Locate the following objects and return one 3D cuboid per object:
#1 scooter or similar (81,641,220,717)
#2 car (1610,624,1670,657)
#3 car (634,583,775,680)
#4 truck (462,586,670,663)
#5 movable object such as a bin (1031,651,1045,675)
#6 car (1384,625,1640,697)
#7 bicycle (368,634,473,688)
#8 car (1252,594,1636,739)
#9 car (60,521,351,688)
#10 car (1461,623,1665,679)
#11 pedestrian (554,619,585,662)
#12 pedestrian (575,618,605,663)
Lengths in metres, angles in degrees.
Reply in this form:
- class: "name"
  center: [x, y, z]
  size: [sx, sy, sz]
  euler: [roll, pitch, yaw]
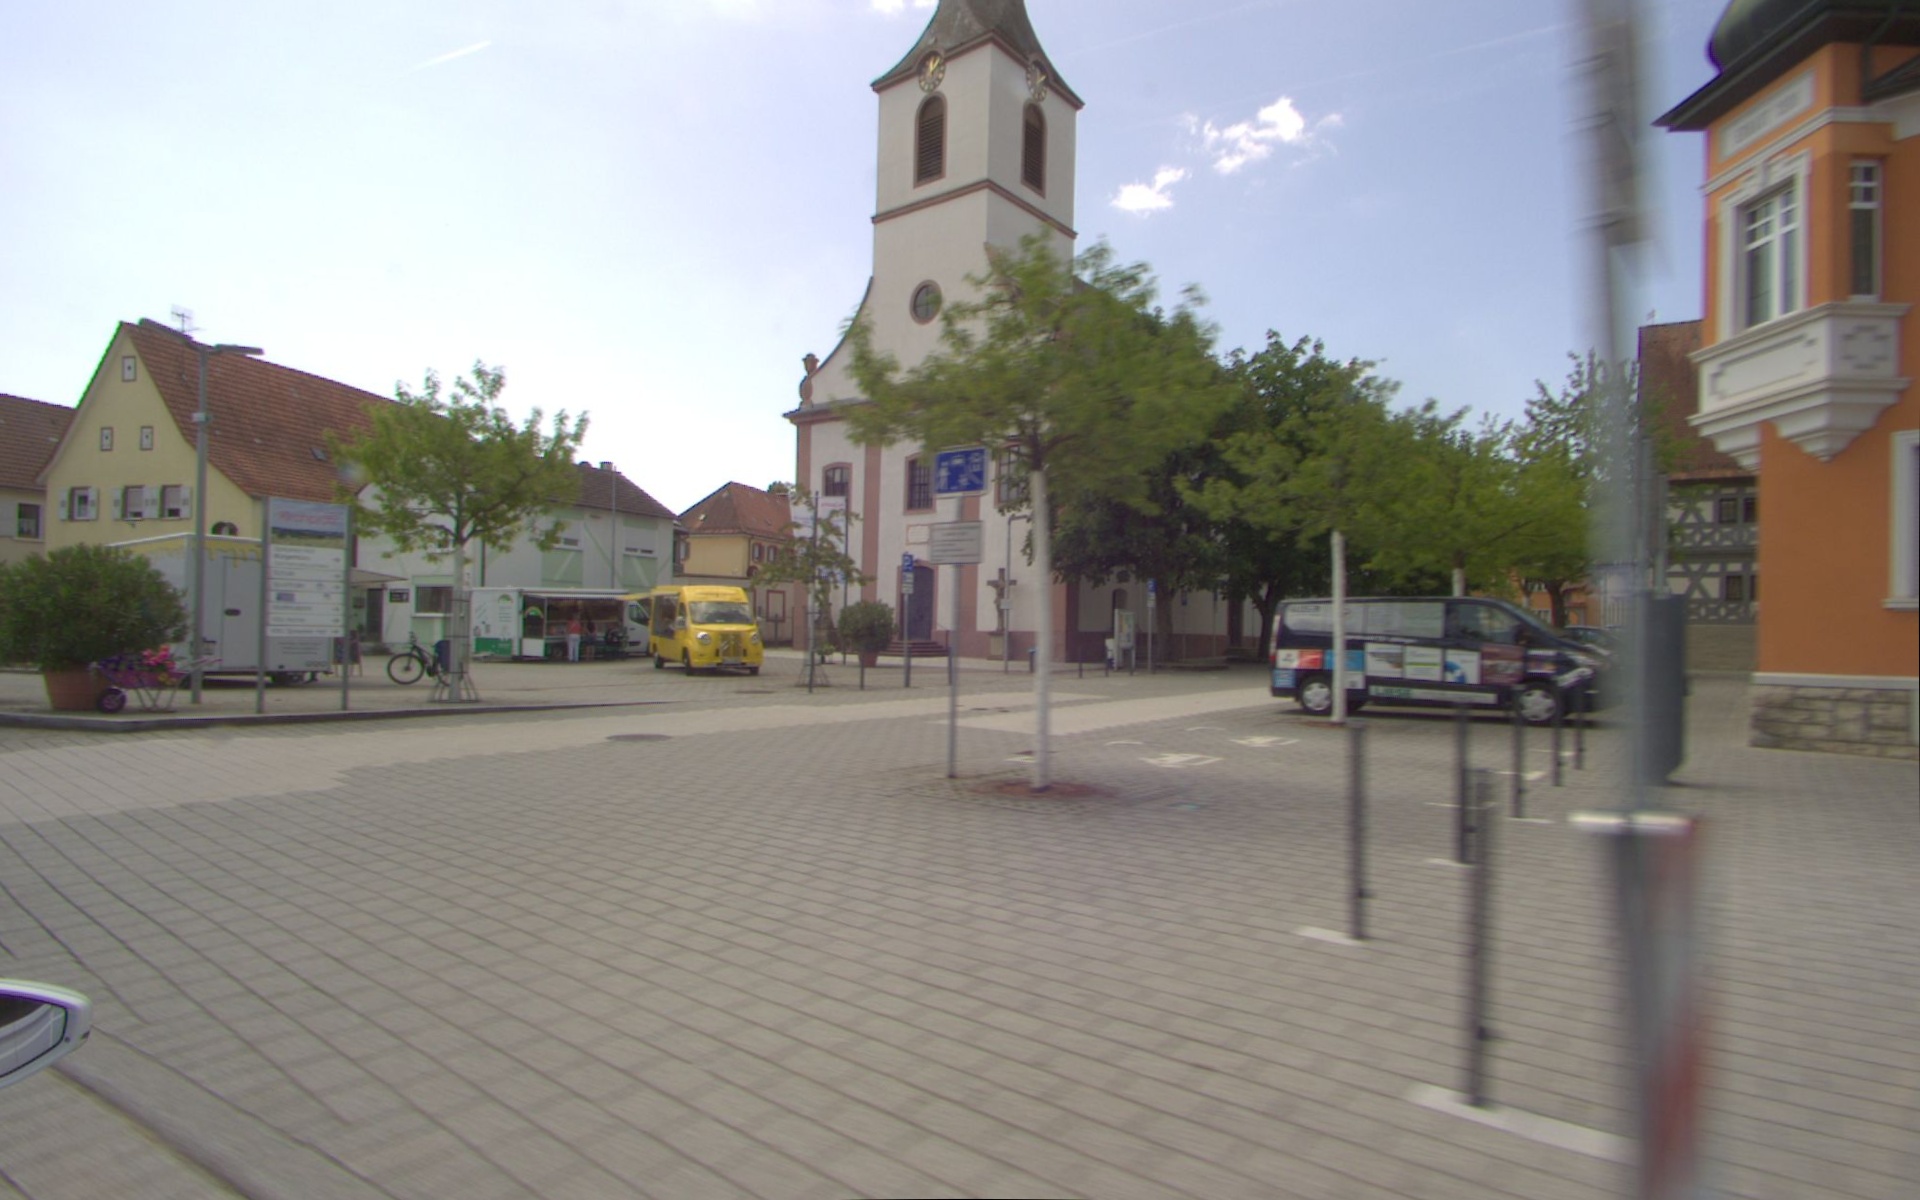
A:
- class: "scooter or similar"
  center: [-10.312, 0.983, 12.785]
  size: [0.802, 0.892, 1.141]
  euler: [1, -1, 26]
- class: "car"
  center: [37.931, 2.273, 55.815]
  size: [1.978, 1.693, 5.450]
  euler: [0, -2, 42]
- class: "car"
  center: [-7.745, 0.903, 29.672]
  size: [2.614, 2.509, 6.936]
  euler: [2, -1, -26]
- class: "truck"
  center: [-14.187, 0.912, 36.649]
  size: [2.911, 2.529, 6.800]
  euler: [1, -2, 28]
- class: "movable object such as a bin"
  center: [2.450, 1.976, 31.417]
  size: [0.359, 0.708, 0.293]
  euler: [1, -1, 26]
- class: "car"
  center: [13.018, 1.380, 23.795]
  size: [5.062, 1.460, 1.986]
  euler: [0, -2, 39]
- class: "bicycle"
  center: [-11.766, 1.314, 21.831]
  size: [2.073, 1.082, 0.756]
  euler: [1, -1, 17]
- class: "car"
  center: [7.852, 0.973, 16.599]
  size: [5.427, 2.039, 1.986]
  euler: [0, -2, 39]
- class: "car"
  center: [-16.009, 0.188, 21.090]
  size: [7.016, 3.000, 2.747]
  euler: [-1, -3, 35]
- class: "car"
  center: [19.391, 1.590, 32.364]
  size: [5.427, 1.592, 1.986]
  euler: [0, -2, 39]
- class: "pedestrian"
  center: [-13.427, 1.383, 34.423]
  size: [0.749, 1.461, 0.642]
  euler: [0, 0, 27]
- class: "pedestrian"
  center: [-13.014, 1.416, 35.197]
  size: [0.802, 1.560, 0.559]
  euler: [1, -1, 29]
